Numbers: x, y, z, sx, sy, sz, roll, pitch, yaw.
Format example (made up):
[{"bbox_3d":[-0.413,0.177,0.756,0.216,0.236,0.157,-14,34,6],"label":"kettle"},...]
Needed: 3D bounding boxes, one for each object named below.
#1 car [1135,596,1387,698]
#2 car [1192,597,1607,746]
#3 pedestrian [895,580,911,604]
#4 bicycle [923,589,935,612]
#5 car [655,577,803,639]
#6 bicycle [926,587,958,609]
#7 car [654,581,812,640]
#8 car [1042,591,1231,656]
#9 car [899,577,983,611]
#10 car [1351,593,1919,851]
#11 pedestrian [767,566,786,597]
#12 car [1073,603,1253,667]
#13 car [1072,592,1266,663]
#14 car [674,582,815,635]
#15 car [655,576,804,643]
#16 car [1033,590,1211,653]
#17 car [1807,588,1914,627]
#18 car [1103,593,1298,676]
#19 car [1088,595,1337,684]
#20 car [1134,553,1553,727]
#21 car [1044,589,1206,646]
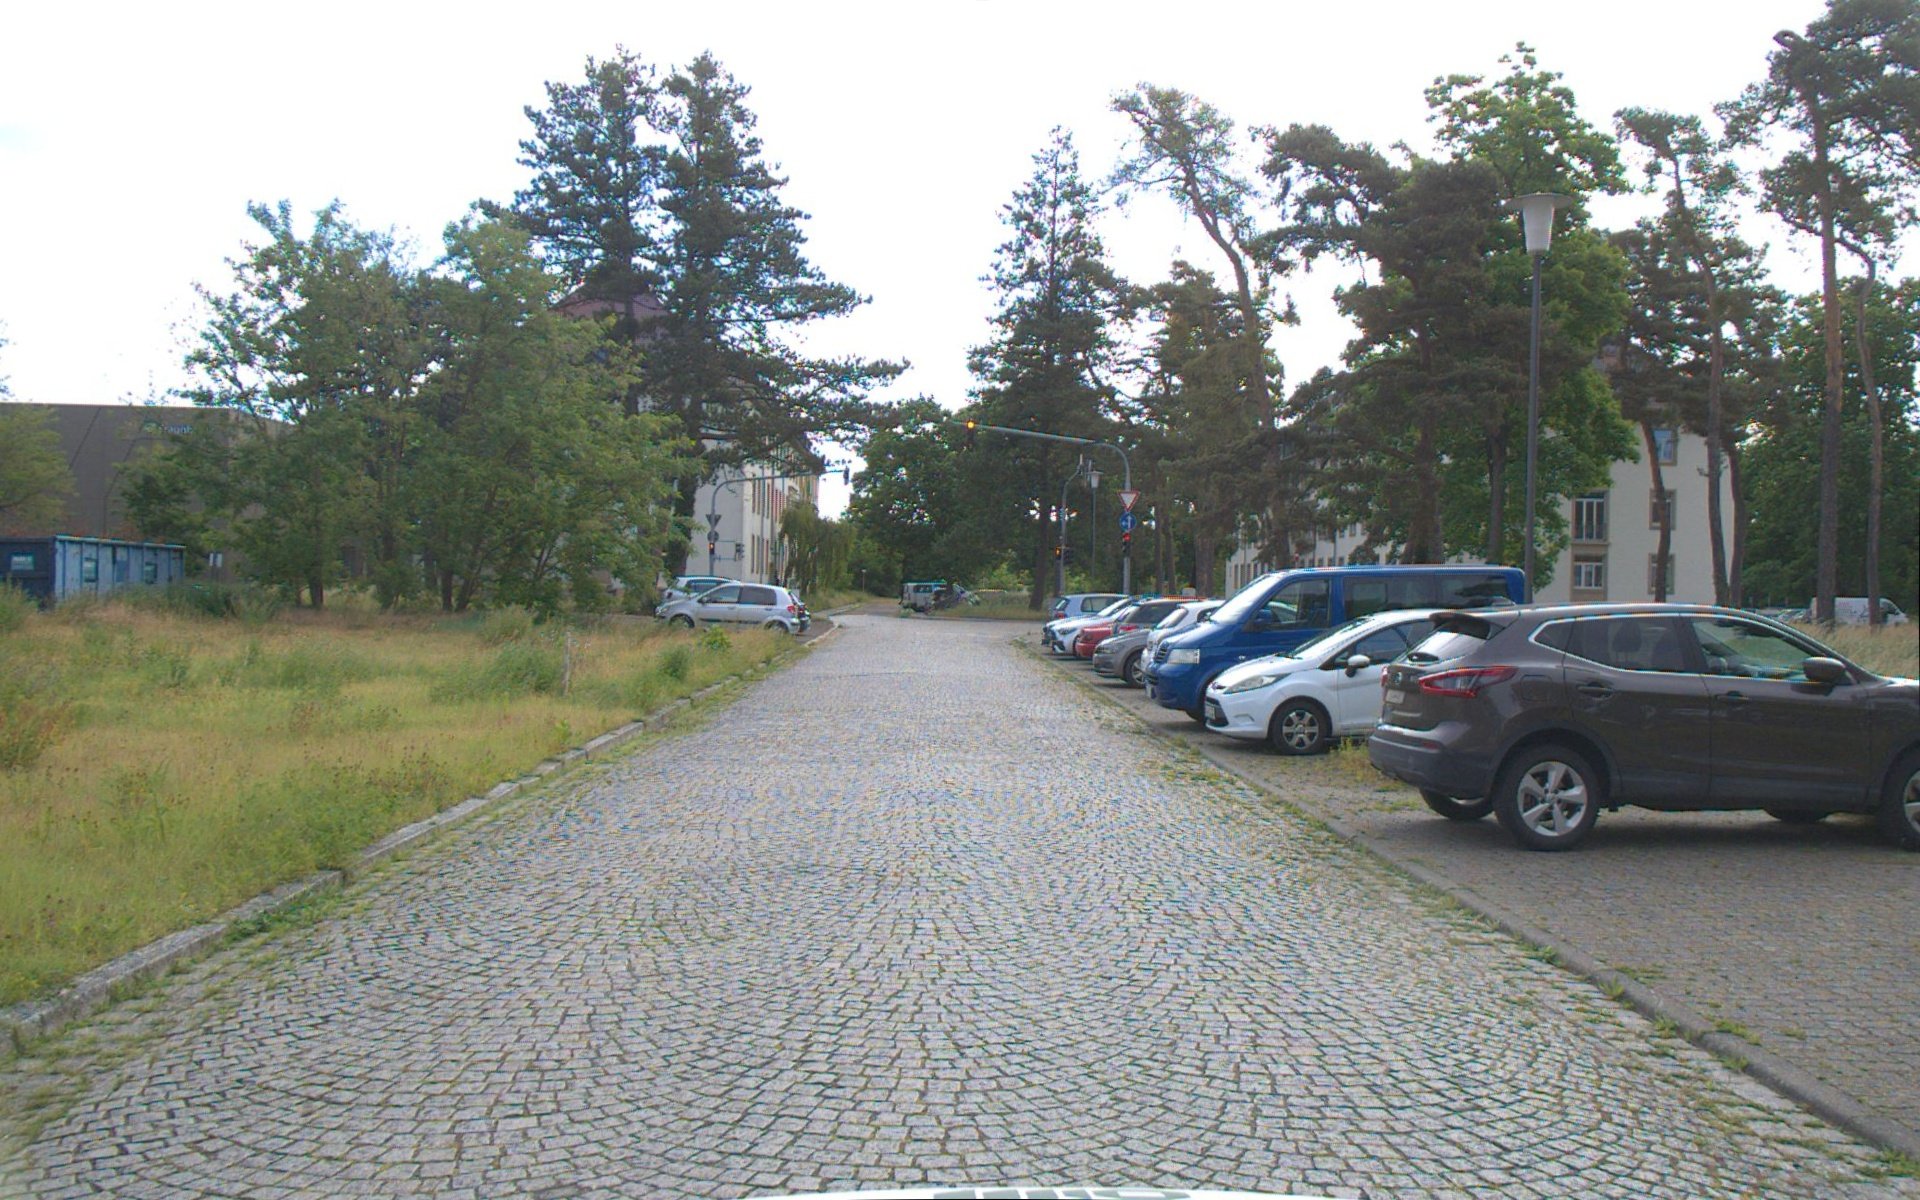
[{"bbox_3d":[4.625,0.714,25.787,3.579,1.504,1.765,0,1,-2],"label":"car"},{"bbox_3d":[4.680,0.740,17.934,4.017,1.504,1.720,0,1,-5],"label":"car"},{"bbox_3d":[-4.880,-0.715,140.815,1.216,1.993,1.120,3,0,-7],"label":"pedestrian"},{"bbox_3d":[-1.714,0.029,91.505,0.649,1.191,1.887,2,0,-1],"label":"bicycle"},{"bbox_3d":[-6.718,0.214,48.327,4.216,1.762,1.650,0,1,-7],"label":"car"},{"bbox_3d":[-1.087,-0.126,99.657,1.846,1.191,0.664,3,0,-7],"label":"bicycle"},{"bbox_3d":[-6.221,0.266,45.537,4.217,1.581,1.809,0,1,-8],"label":"car"},{"bbox_3d":[4.116,0.539,38.876,4.107,1.462,1.752,0,1,-9],"label":"car"},{"bbox_3d":[-1.307,-0.421,110.959,5.285,2.138,2.171,1,0,-14],"label":"car"},{"bbox_3d":[5.049,0.776,11.588,4.120,1.623,1.952,0,1,-4],"label":"car"},{"bbox_3d":[-11.994,-1.197,108.322,1.053,1.993,1.121,2,0,-2],"label":"pedestrian"},{"bbox_3d":[4.149,0.705,34.172,3.513,1.244,1.628,0,1,-1],"label":"car"},{"bbox_3d":[4.580,0.599,36.528,4.023,1.502,1.683,0,1,-3],"label":"car"},{"bbox_3d":[-6.599,0.244,50.786,4.217,1.581,1.809,0,1,-8],"label":"car"},{"bbox_3d":[-5.929,0.237,42.949,3.648,1.506,1.672,3,0,-5],"label":"car"},{"bbox_3d":[4.062,0.527,41.642,4.155,1.505,1.704,0,1,-12],"label":"car"},{"bbox_3d":[53.762,0.425,98.846,5.193,2.054,2.105,3,0,-1],"label":"car"},{"bbox_3d":[4.537,0.645,31.558,3.435,1.513,1.742,0,1,-2],"label":"car"},{"bbox_3d":[4.316,0.663,28.683,4.046,1.472,1.765,0,1,-1],"label":"car"},{"bbox_3d":[4.640,0.467,20.477,4.700,2.039,1.965,0,1,-4],"label":"car"},{"bbox_3d":[4.392,0.463,44.206,4.056,1.489,1.631,0,1,-7],"label":"car"}]
